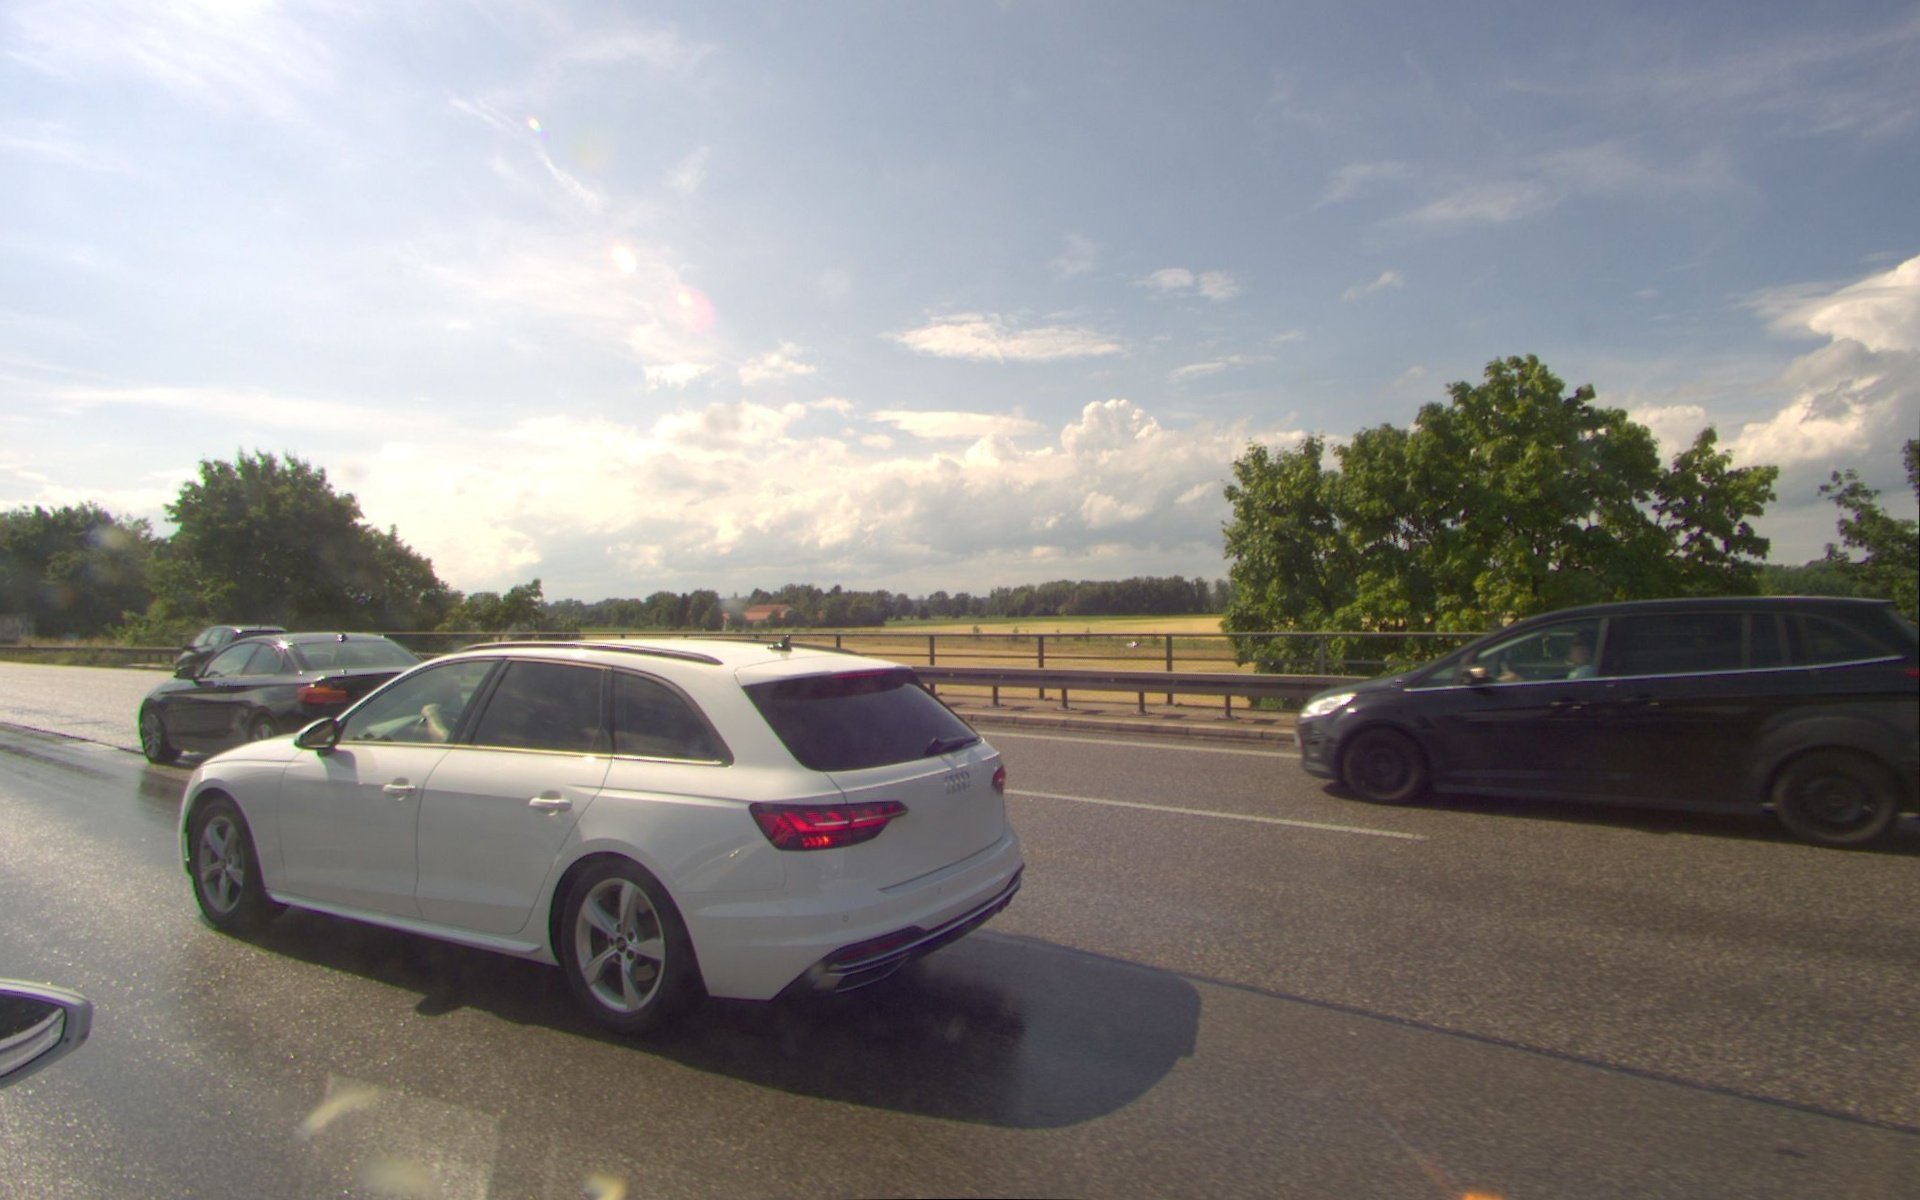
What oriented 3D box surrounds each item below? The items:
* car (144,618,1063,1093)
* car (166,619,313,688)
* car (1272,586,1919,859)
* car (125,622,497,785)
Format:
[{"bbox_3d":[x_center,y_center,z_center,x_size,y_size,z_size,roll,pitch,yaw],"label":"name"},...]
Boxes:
[{"bbox_3d":[-1.901,0.854,4.960,4.443,1.444,1.825,-2,-1,29],"label":"car"},{"bbox_3d":[-17.985,1.293,24.944,3.948,1.588,1.843,-1,-2,36],"label":"car"},{"bbox_3d":[4.867,0.786,7.832,4.306,1.641,1.815,-1,-2,36],"label":"car"},{"bbox_3d":[-7.275,1.014,11.142,4.194,1.483,1.845,-1,-1,31],"label":"car"}]
